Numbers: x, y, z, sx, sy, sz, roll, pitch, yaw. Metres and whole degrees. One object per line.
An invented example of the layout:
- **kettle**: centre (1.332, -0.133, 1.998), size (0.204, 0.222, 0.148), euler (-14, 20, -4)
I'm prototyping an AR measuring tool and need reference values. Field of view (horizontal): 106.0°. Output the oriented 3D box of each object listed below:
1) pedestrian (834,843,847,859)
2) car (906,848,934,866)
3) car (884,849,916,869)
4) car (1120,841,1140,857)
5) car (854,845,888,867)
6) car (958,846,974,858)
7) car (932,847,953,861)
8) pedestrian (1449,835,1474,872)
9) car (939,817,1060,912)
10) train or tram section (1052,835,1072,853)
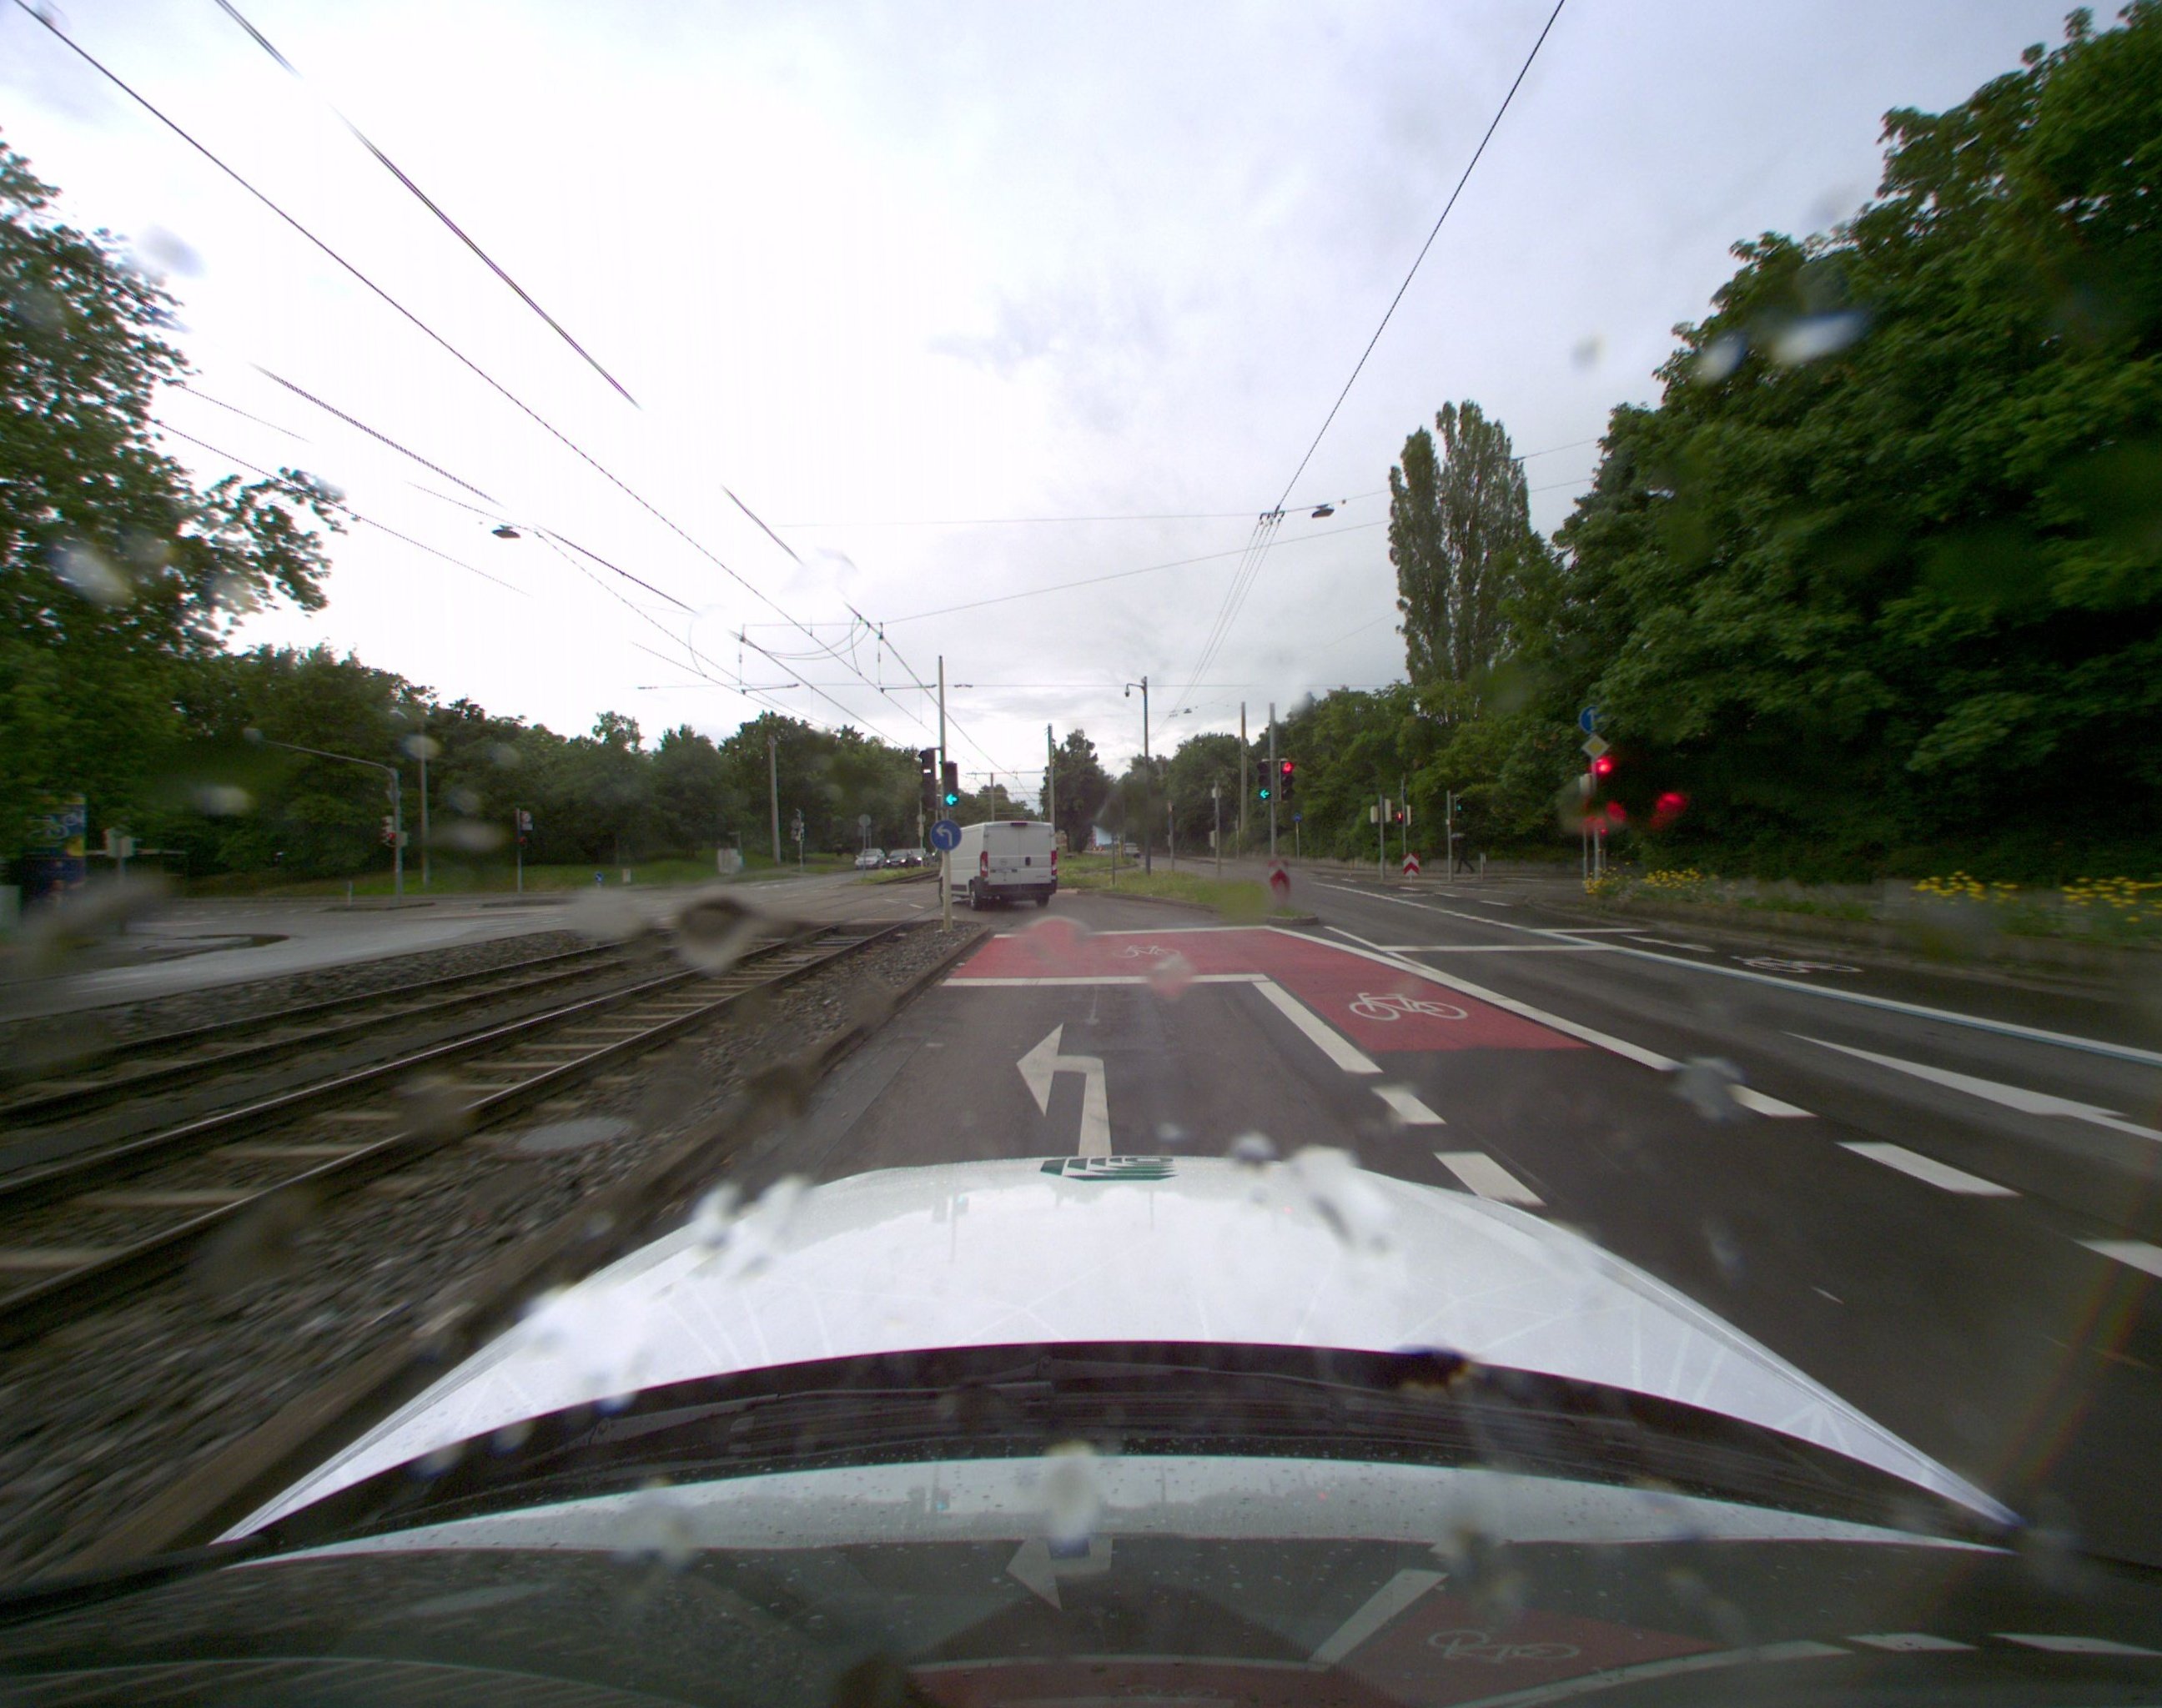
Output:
- **pedestrian**: centre (-23.389, -0.300, 79.166), size (1.012, 1.600, 1.038), euler (-1, 0, -6)
- **car**: centre (-13.175, 0.243, 66.666), size (1.596, 1.401, 3.790), euler (0, 1, -1)
- **car**: centre (-13.603, 0.381, 61.422), size (1.596, 1.401, 3.790), euler (0, 1, -1)
- **car**: centre (4.831, -0.508, 80.065), size (1.698, 1.521, 3.790), euler (0, 1, -1)
- **car**: centre (-16.718, 0.161, 65.021), size (1.714, 1.553, 3.861), euler (-4, 1, -1)
- **car**: centre (-14.909, -0.268, 105.586), size (1.596, 1.401, 3.790), euler (-1, 1, -1)
- **car**: centre (-14.303, -0.027, 84.084), size (1.596, 1.401, 3.790), euler (0, 1, -1)
- **pedestrian**: centre (16.636, 0.003, 35.620), size (0.804, 1.607, 0.683), euler (0, -2, 1)
- **car**: centre (-2.412, 0.192, 22.641), size (2.153, 2.283, 5.030), euler (-2, 2, -20)
- **train or tram section**: centre (-4.134, -2.381, 183.701), size (4.046, 3.894, 15.041), euler (0, 1, 0)
